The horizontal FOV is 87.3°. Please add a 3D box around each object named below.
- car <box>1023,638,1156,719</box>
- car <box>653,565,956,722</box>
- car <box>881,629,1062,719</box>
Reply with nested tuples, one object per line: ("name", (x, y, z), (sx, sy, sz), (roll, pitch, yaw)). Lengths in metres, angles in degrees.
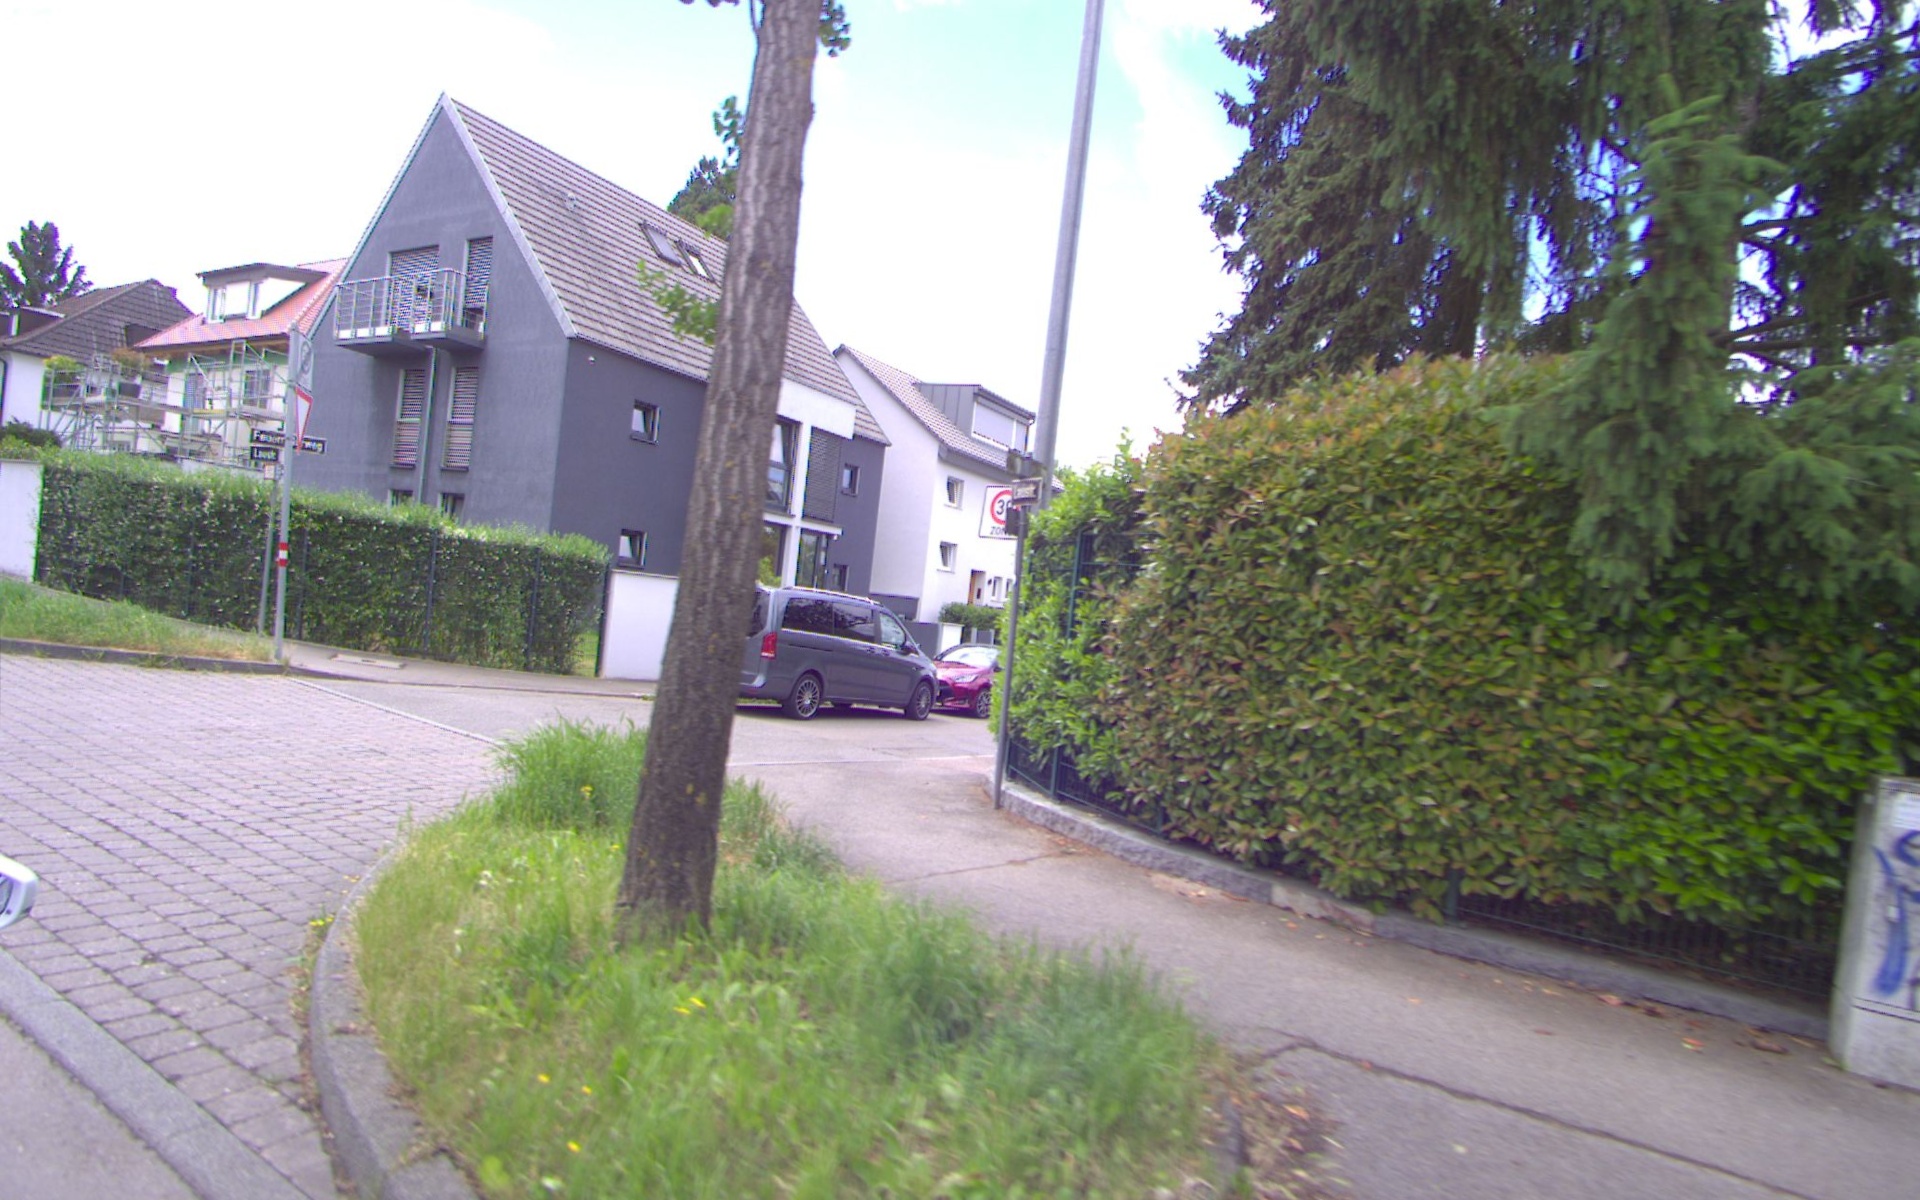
("car", (3.486, 2.112, 26.364), (1.799, 1.722, 4.122), (7, -2, 31))
("car", (-2.298, 0.824, 16.351), (2.123, 1.989, 4.769), (7, -2, 31))
("car", (0.352, 1.613, 21.279), (1.967, 1.475, 3.996), (7, -2, 31))
